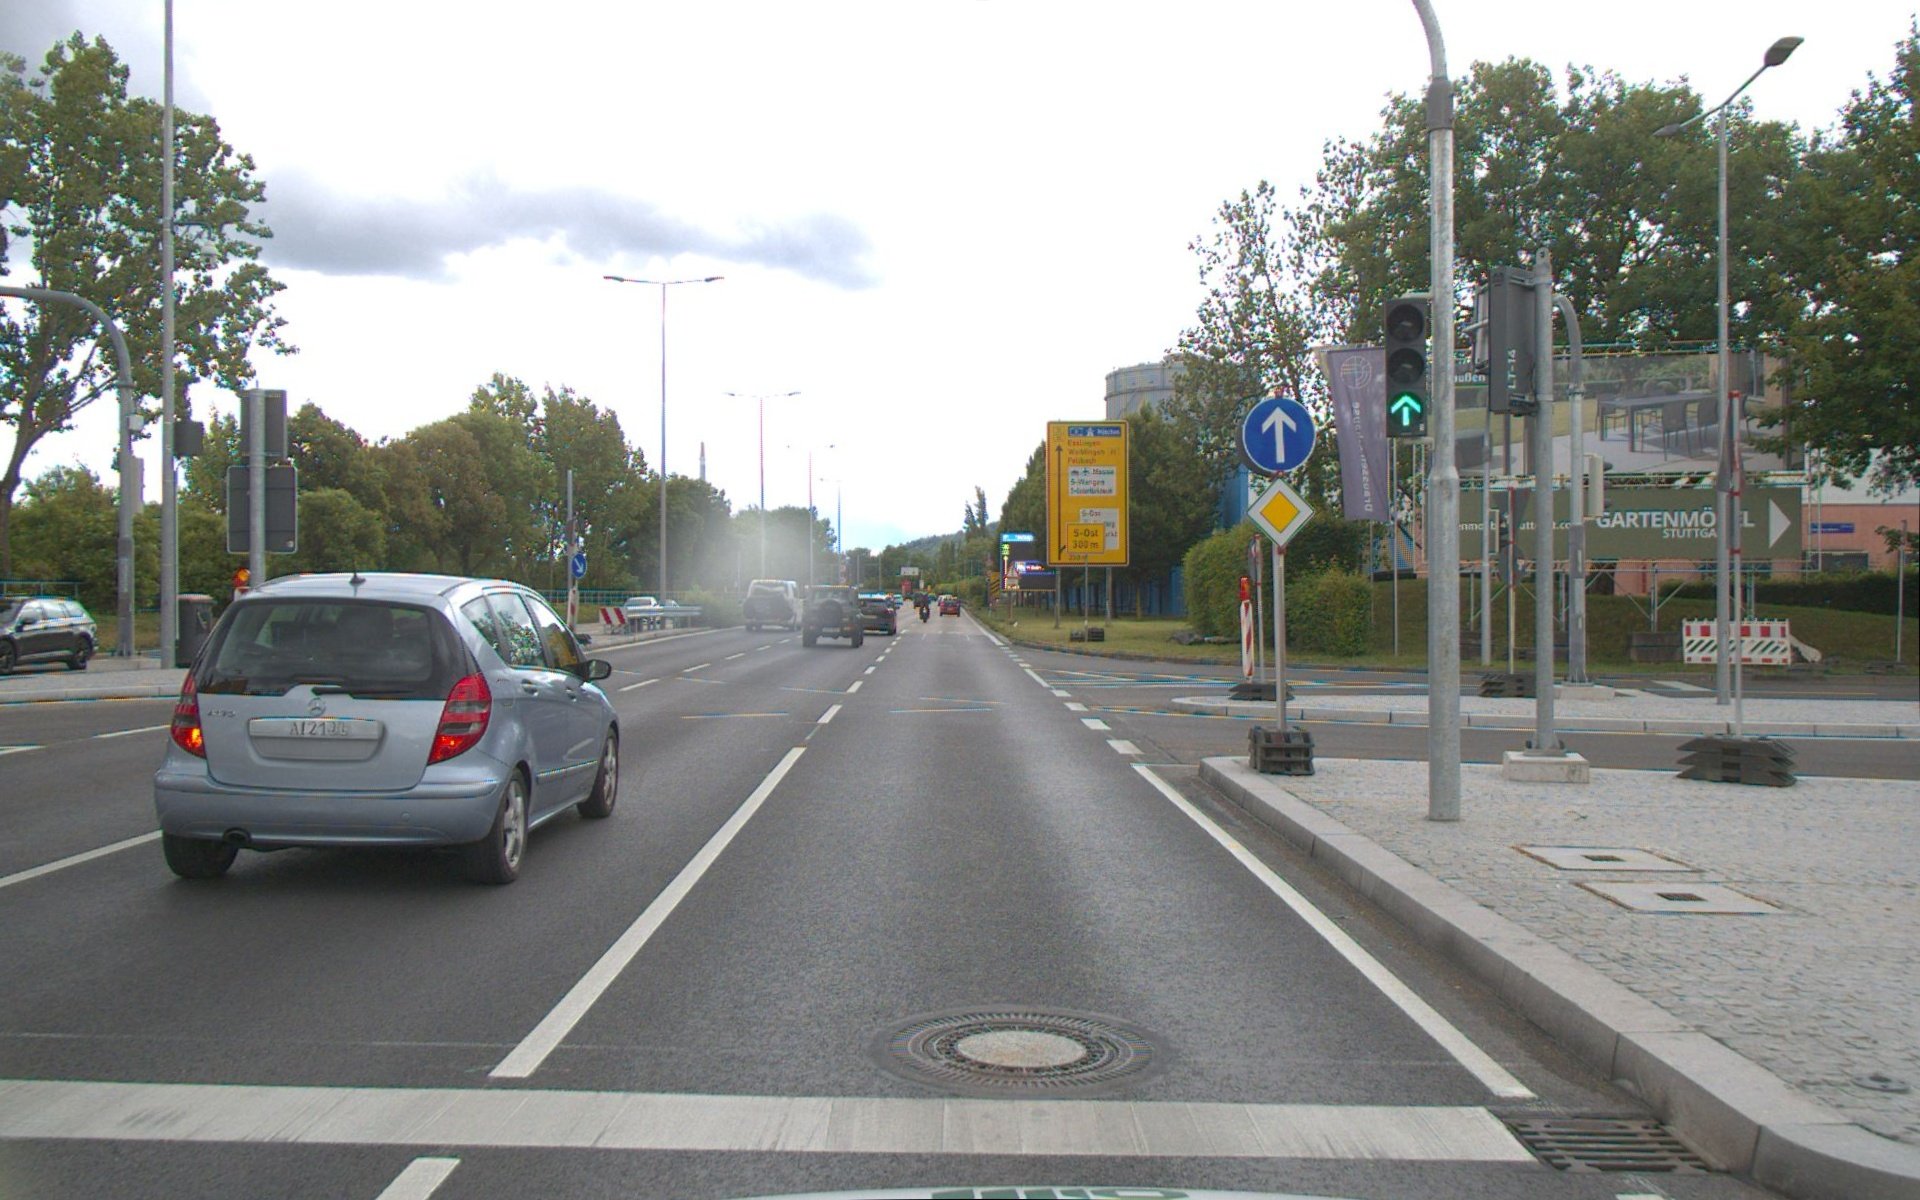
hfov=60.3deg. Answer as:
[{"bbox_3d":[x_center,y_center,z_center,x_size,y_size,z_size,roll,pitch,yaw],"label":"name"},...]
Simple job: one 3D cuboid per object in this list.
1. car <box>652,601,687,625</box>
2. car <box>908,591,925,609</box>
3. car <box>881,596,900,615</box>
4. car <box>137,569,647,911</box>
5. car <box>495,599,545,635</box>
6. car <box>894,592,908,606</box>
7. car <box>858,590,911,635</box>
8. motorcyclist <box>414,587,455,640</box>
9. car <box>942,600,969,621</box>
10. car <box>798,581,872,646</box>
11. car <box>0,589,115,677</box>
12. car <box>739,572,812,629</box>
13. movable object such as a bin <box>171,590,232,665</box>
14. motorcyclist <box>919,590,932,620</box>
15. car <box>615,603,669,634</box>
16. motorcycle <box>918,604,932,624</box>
[{"bbox_3d":[-22.593,1.000,128.703,1.953,1.668,4.000,2,1,-1],"label":"car"},{"bbox_3d":[-5.247,0.037,200.471,1.953,2.048,4.000,2,1,-1],"label":"car"},{"bbox_3d":[-7.819,0.609,185.336,1.953,2.048,4.000,2,1,-1],"label":"car"},{"bbox_3d":[-3.058,0.639,9.813,1.676,1.556,3.999,2,1,-1],"label":"car"},{"bbox_3d":[-19.316,0.738,72.626,1.443,1.488,2.737,2,1,-1],"label":"car"},{"bbox_3d":[-9.216,-0.136,257.123,1.953,2.048,4.000,2,1,0],"label":"car"},{"bbox_3d":[-2.745,0.440,61.061,1.803,1.489,3.999,2,1,-1],"label":"car"},{"bbox_3d":[-16.065,0.410,50.586,0.894,1.548,0.980,2,-3,-1],"label":"motorcyclist"},{"bbox_3d":[-0.378,0.842,133.699,1.953,1.579,3.999,2,1,-2],"label":"car"},{"bbox_3d":[-3.533,0.335,47.427,1.869,1.713,3.999,2,1,-2],"label":"car"},{"bbox_3d":[-18.514,0.598,32.026,1.953,1.578,4.568,0,1,0],"label":"car"},{"bbox_3d":[-6.900,-0.010,62.220,2.170,1.959,5.002,2,1,-1],"label":"car"},{"bbox_3d":[-11.328,0.405,24.717,0.530,1.077,0.740,2,0,-1],"label":"movable object such as a bin"},{"bbox_3d":[-1.953,0.281,93.846,0.670,1.638,0.845,2,0,1],"label":"motorcyclist"},{"bbox_3d":[-17.033,0.972,88.795,1.953,1.519,4.804,2,1,-1],"label":"car"},{"bbox_3d":[-1.976,0.790,93.790,0.692,1.058,2.027,2,1,1],"label":"motorcycle"}]
